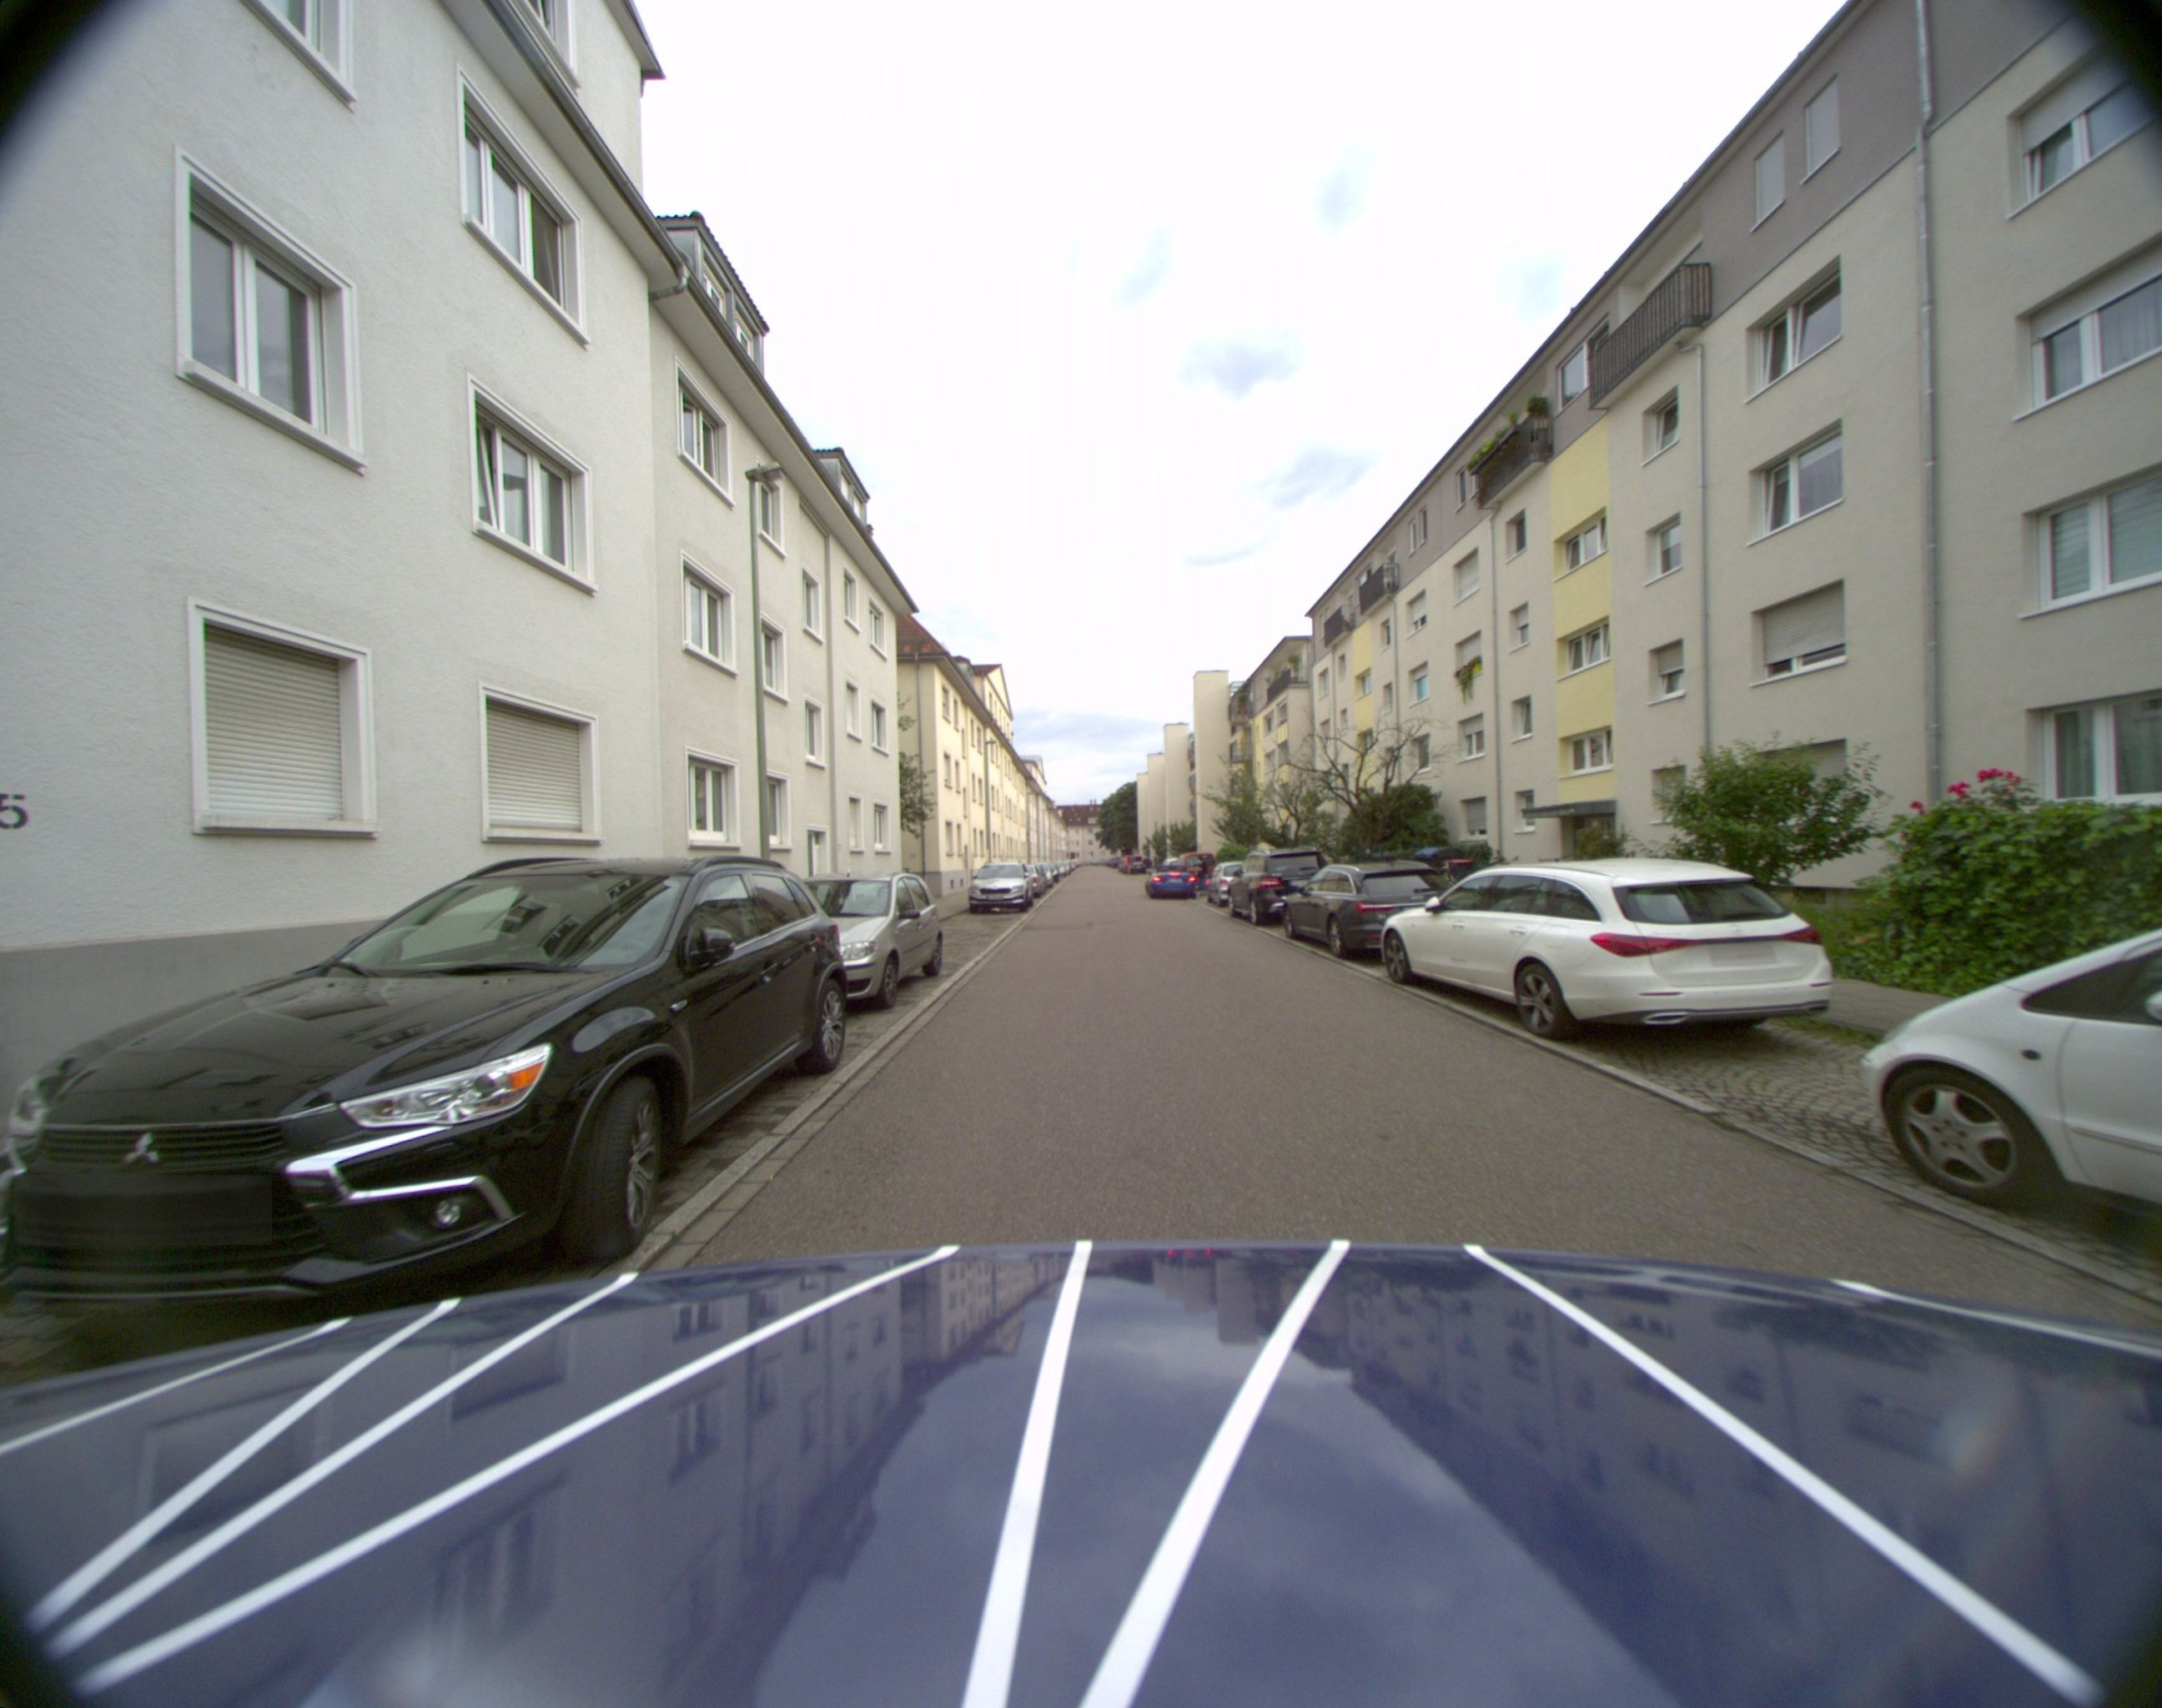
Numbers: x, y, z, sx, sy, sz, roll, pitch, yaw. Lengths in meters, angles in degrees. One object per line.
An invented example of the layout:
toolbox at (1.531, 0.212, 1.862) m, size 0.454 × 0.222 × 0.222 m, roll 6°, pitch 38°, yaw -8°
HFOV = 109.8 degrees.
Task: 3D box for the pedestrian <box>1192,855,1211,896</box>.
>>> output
pedestrian at (4.964, 0.885, 31.350) m, size 0.603 × 1.657 × 0.622 m, roll -2°, pitch 0°, yaw -2°

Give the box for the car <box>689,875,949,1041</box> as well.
car at (-2.803, 1.035, 9.068) m, size 1.737 × 1.478 × 3.757 m, roll -1°, pitch 0°, yaw 1°

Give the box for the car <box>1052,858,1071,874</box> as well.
car at (-1.802, 1.153, 71.893) m, size 1.737 × 1.443 × 4.217 m, roll -1°, pitch 0°, yaw -1°

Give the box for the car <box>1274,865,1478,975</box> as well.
car at (4.694, 0.952, 12.865) m, size 1.729 × 1.445 × 4.483 m, roll -2°, pitch 0°, yaw 1°

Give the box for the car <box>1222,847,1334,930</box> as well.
car at (4.701, 0.783, 18.778) m, size 1.575 × 1.769 × 4.452 m, roll -2°, pitch -1°, yaw 0°

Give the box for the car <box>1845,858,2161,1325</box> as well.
car at (4.695, 0.842, 1.944) m, size 1.689 × 1.629 × 3.727 m, roll -2°, pitch 0°, yaw -1°

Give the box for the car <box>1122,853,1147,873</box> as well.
car at (5.785, 0.987, 82.652) m, size 2.188 × 2.019 × 4.422 m, roll -2°, pitch -1°, yaw -2°

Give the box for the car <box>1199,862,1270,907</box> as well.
car at (5.112, 0.988, 25.703) m, size 1.575 × 1.388 × 3.542 m, roll -2°, pitch -1°, yaw -2°

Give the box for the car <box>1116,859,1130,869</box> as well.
car at (6.700, 1.537, 121.041) m, size 1.745 × 1.534 × 3.637 m, roll -2°, pitch -1°, yaw -5°

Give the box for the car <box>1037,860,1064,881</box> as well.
car at (-2.097, 1.148, 52.714) m, size 1.737 × 1.363 × 4.217 m, roll -1°, pitch 0°, yaw -1°

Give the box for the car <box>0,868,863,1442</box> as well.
car at (-2.747, 0.913, 4.275) m, size 1.853 × 1.589 × 4.160 m, roll -1°, pitch 0°, yaw -1°

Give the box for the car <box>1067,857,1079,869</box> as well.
car at (-1.123, 1.285, 110.713) m, size 1.737 × 1.670 × 3.592 m, roll -1°, pitch 0°, yaw -1°

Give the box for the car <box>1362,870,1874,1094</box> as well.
car at (4.648, 0.944, 7.682) m, size 1.723 × 1.500 × 4.687 m, roll -2°, pitch -1°, yaw -2°

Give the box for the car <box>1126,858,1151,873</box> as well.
car at (5.768, 1.186, 76.414) m, size 2.013 × 1.435 × 4.197 m, roll -2°, pitch -1°, yaw -2°

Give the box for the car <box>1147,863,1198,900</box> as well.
car at (3.640, 1.074, 30.929) m, size 1.679 × 1.307 × 3.908 m, roll -2°, pitch 1°, yaw 2°

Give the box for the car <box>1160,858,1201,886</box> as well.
car at (5.508, 0.980, 42.444) m, size 1.707 × 1.435 × 3.542 m, roll -2°, pitch -1°, yaw -2°

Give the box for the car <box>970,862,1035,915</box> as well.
car at (-2.493, 1.054, 24.847) m, size 1.737 × 1.538 × 3.677 m, roll -1°, pitch 0°, yaw -1°

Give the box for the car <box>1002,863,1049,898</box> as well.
car at (-2.404, 1.116, 33.762) m, size 1.737 × 1.418 × 4.218 m, roll -1°, pitch 0°, yaw 0°

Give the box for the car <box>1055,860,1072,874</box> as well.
car at (-1.829, 1.387, 81.682) m, size 1.737 × 1.443 × 4.217 m, roll -1°, pitch 0°, yaw -1°

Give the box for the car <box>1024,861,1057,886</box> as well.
car at (-2.338, 1.136, 45.081) m, size 1.737 × 1.402 × 4.217 m, roll -1°, pitch 0°, yaw -1°

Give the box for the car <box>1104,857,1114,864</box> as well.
car at (6.215, 1.490, 170.832) m, size 1.745 × 1.534 × 3.637 m, roll -2°, pitch -1°, yaw -5°

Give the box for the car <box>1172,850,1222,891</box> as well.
car at (5.462, 0.788, 36.255) m, size 1.707 × 1.795 × 3.542 m, roll -2°, pitch -1°, yaw -2°
